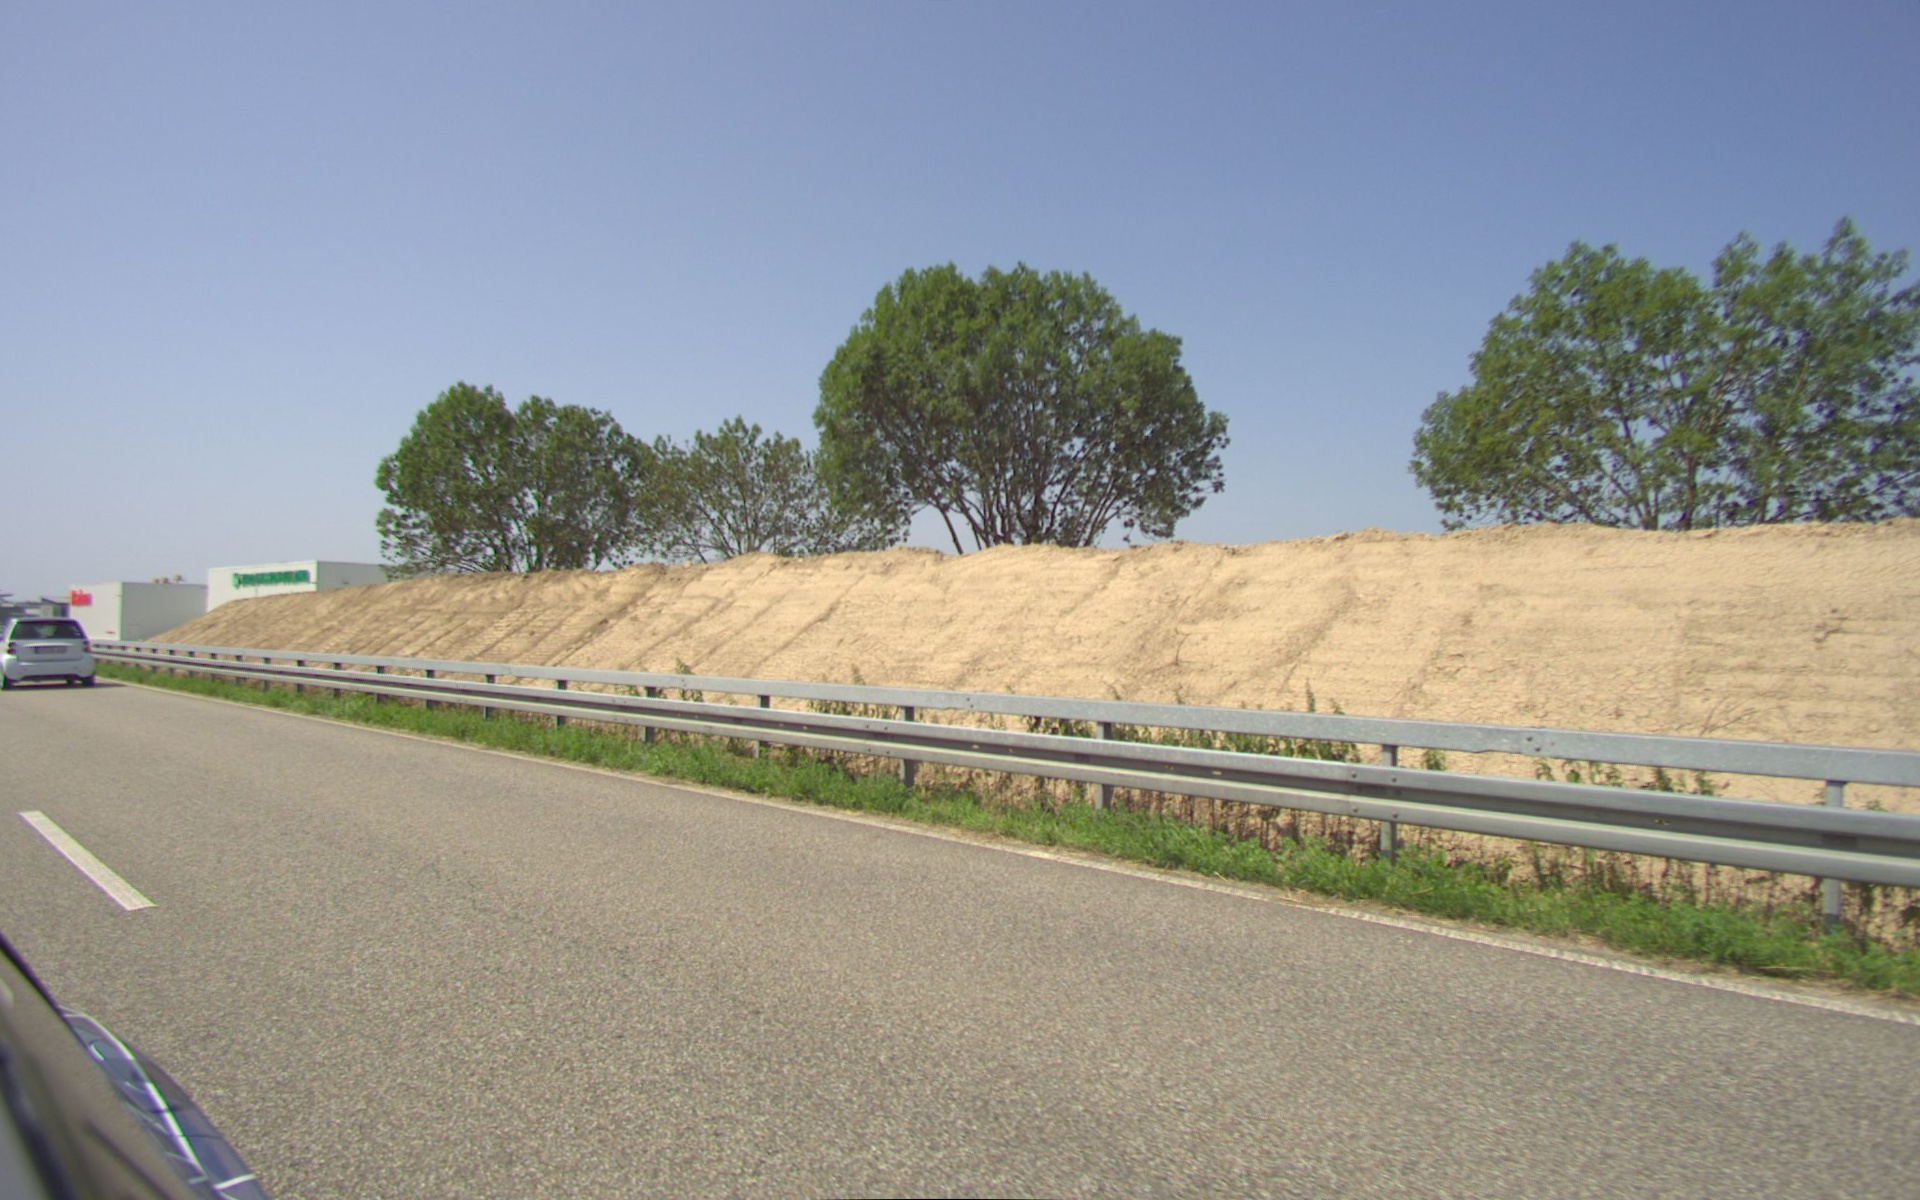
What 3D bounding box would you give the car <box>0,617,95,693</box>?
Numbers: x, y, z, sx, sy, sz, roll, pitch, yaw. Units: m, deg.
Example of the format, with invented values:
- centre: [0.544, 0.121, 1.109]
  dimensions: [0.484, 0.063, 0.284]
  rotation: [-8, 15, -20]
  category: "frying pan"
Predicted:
- centre: [-21.093, 1.214, 23.001]
  dimensions: [3.825, 1.588, 1.579]
  rotation: [-2, -2, 40]
  category: "car"
